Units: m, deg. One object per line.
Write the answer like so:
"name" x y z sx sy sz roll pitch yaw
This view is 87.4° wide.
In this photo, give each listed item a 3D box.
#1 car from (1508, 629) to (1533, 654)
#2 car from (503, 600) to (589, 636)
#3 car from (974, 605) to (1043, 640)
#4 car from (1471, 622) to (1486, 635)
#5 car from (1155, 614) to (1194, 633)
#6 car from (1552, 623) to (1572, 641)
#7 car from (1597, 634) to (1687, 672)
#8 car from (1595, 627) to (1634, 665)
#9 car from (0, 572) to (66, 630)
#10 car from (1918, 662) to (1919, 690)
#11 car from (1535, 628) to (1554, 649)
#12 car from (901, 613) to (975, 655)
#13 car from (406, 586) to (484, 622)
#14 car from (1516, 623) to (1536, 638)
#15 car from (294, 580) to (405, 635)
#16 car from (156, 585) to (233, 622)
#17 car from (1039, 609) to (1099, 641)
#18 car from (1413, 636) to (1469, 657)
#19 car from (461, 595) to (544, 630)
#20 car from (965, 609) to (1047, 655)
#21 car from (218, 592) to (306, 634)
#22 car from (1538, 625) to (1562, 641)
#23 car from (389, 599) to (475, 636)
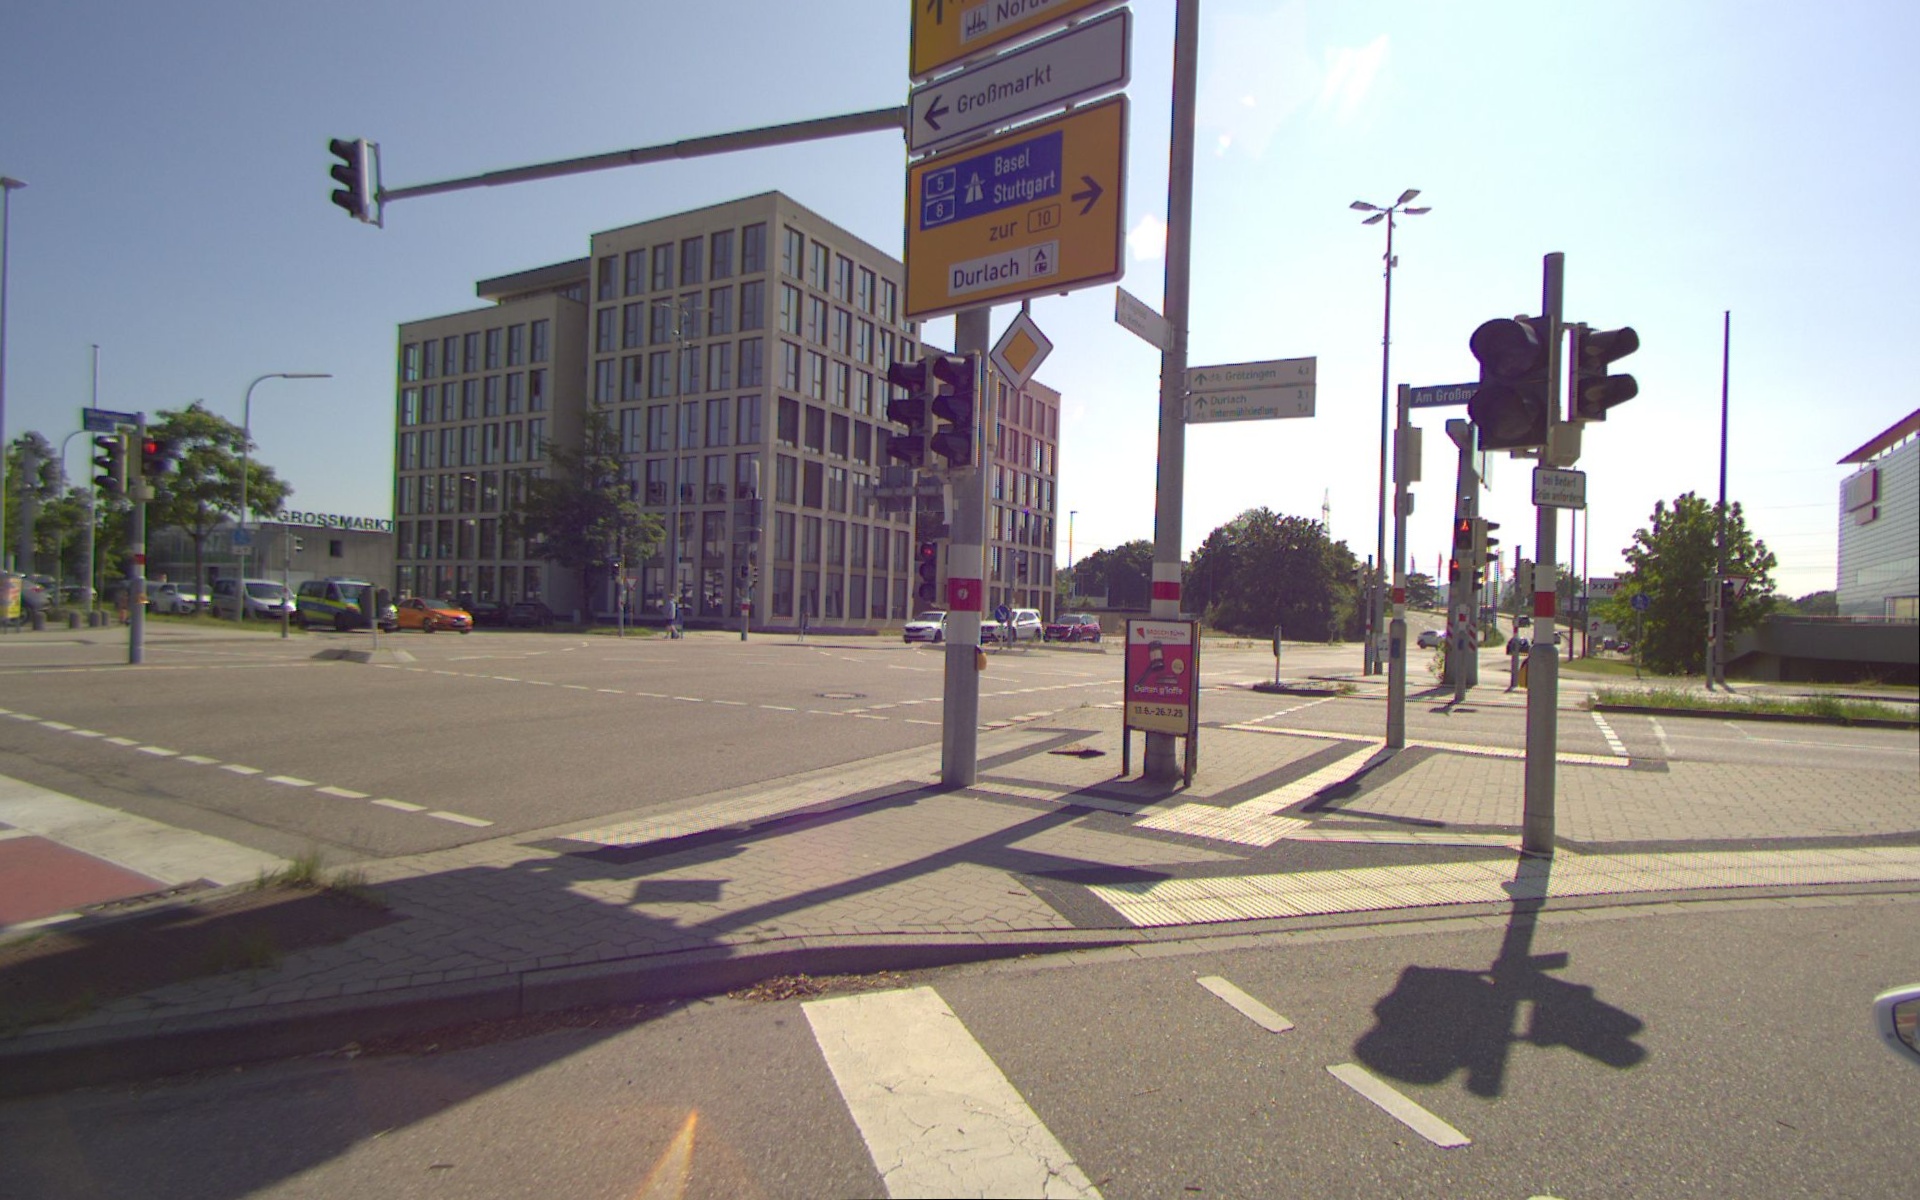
"car" 46.327 3.402 82.965 1.608 2.040 3.991 1 -1 31
"car" -23.270 1.029 56.532 3.974 1.761 1.974 4 -1 -44
"car" 2.542 1.166 51.852 1.870 1.734 4.224 1 -1 29
"car" 83.880 4.583 162.567 1.964 2.040 3.994 2 0 29
"car" 29.297 3.144 137.176 4.946 2.365 2.001 2 0 7
"car" 70.431 3.717 117.486 1.965 2.040 3.991 1 -1 31
"car" 37.175 2.857 54.875 3.932 1.757 1.995 2 0 33
"car" 43.800 3.044 67.208 1.967 2.327 4.019 2 0 35
"car" -28.104 0.001 27.932 1.946 1.608 4.471 1 -1 32
"car" 34.661 2.729 35.351 0.873 0.988 1.940 2 0 29
"car" 58.689 3.843 100.810 1.557 2.040 3.991 1 -1 31
"car" -0.950 1.519 45.268 1.800 1.735 3.762 2 0 26
"car" -31.919 0.283 62.246 3.965 2.040 1.978 3 -1 -38
"car" 84.988 4.572 150.815 1.960 2.040 4.001 1 -1 19
"car" -22.959 0.283 37.728 4.659 1.934 2.177 1 -1 40
"car" -34.588 0.133 45.363 3.805 1.513 1.907 2 0 39
"car" 5.584 1.259 50.923 1.503 1.548 4.113 1 -1 29
"car" 41.889 4.059 87.511 3.943 1.643 2.011 0 -1 42
"car" -26.279 0.722 57.741 3.965 1.851 1.978 3 -1 -38
"car" 2.094 1.411 44.812 1.989 1.862 4.306 2 0 27
"car" -28.571 0.520 41.091 3.790 1.577 1.663 2 0 34
"car" 77.700 4.372 132.310 2.625 2.040 6.477 1 -1 31
"car" -21.157 0.686 40.206 3.808 1.382 1.732 1 -1 40
